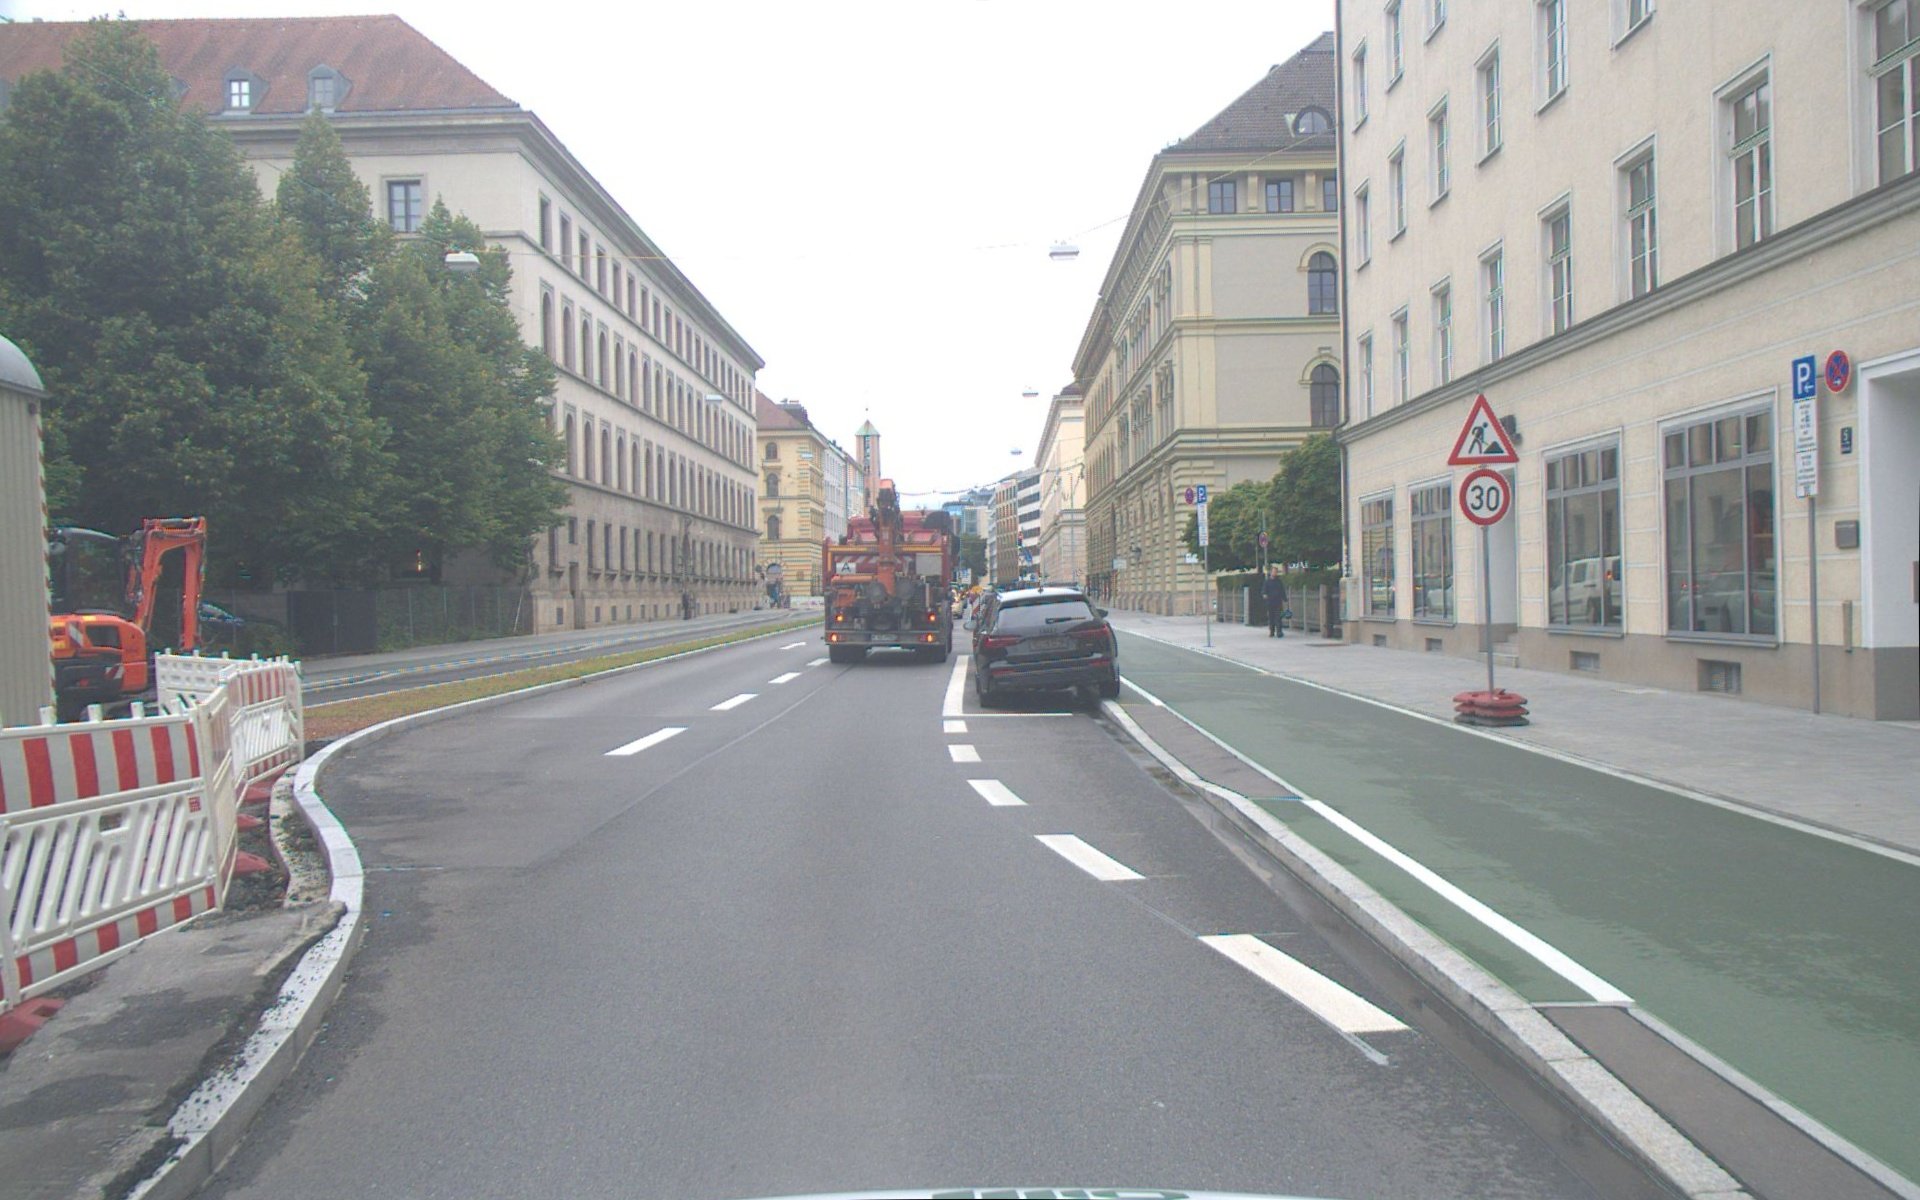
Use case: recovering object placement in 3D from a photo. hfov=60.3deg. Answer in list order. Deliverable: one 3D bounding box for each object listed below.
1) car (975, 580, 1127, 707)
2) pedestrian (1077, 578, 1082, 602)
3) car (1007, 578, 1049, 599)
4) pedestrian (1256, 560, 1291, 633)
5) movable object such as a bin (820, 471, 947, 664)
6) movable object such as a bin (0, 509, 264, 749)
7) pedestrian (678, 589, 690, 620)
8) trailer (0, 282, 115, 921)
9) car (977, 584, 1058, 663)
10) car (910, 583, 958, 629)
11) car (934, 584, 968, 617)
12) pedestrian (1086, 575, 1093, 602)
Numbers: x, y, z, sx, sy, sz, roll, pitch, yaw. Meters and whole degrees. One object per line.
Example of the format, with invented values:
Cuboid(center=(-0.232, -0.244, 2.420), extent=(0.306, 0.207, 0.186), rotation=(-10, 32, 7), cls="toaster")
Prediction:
Cuboid(center=(1.144, 0.508, 22.741), extent=(1.765, 1.505, 4.687), rotation=(-2, 1, 0), cls="car")
Cuboid(center=(8.318, -0.687, 115.233), extent=(0.330, 1.701, 0.440), rotation=(-2, 0, 2), cls="pedestrian")
Cuboid(center=(6.423, -1.105, 155.558), extent=(3.904, 1.851, 1.896), rotation=(-2, 0, 2), cls="car")
Cuboid(center=(8.275, -0.096, 43.668), extent=(0.774, 1.868, 0.777), rotation=(-2, 1, 2), cls="pedestrian")
Cuboid(center=(-1.500, -0.657, 34.712), extent=(2.374, 3.674, 5.851), rotation=(-1, 0, -1), cls="movable object such as a bin")
Cuboid(center=(-10.739, 0.320, 21.167), extent=(1.955, 2.687, 4.661), rotation=(-2, 0, -5), cls="movable object such as a bin")
Cuboid(center=(-16.468, 0.280, 98.622), extent=(0.576, 1.863, 0.499), rotation=(-1, 1, -1), cls="pedestrian")
Cuboid(center=(-5.872, 0.043, 5.953), extent=(2.183, 3.300, 7.513), rotation=(-2, 1, -4), cls="trailer")
Cuboid(center=(1.162, 0.447, 34.678), extent=(1.577, 1.521, 3.425), rotation=(-2, 0, 0), cls="car")
Cuboid(center=(-0.899, 0.188, 58.781), extent=(1.577, 1.521, 3.425), rotation=(-2, 0, 0), cls="car")
Cuboid(center=(-0.448, 0.012, 81.319), extent=(1.577, 1.521, 3.425), rotation=(-2, 0, 0), cls="car")
Cuboid(center=(9.018, -0.792, 115.210), extent=(0.436, 1.868, 0.556), rotation=(-2, 0, 2), cls="pedestrian")
